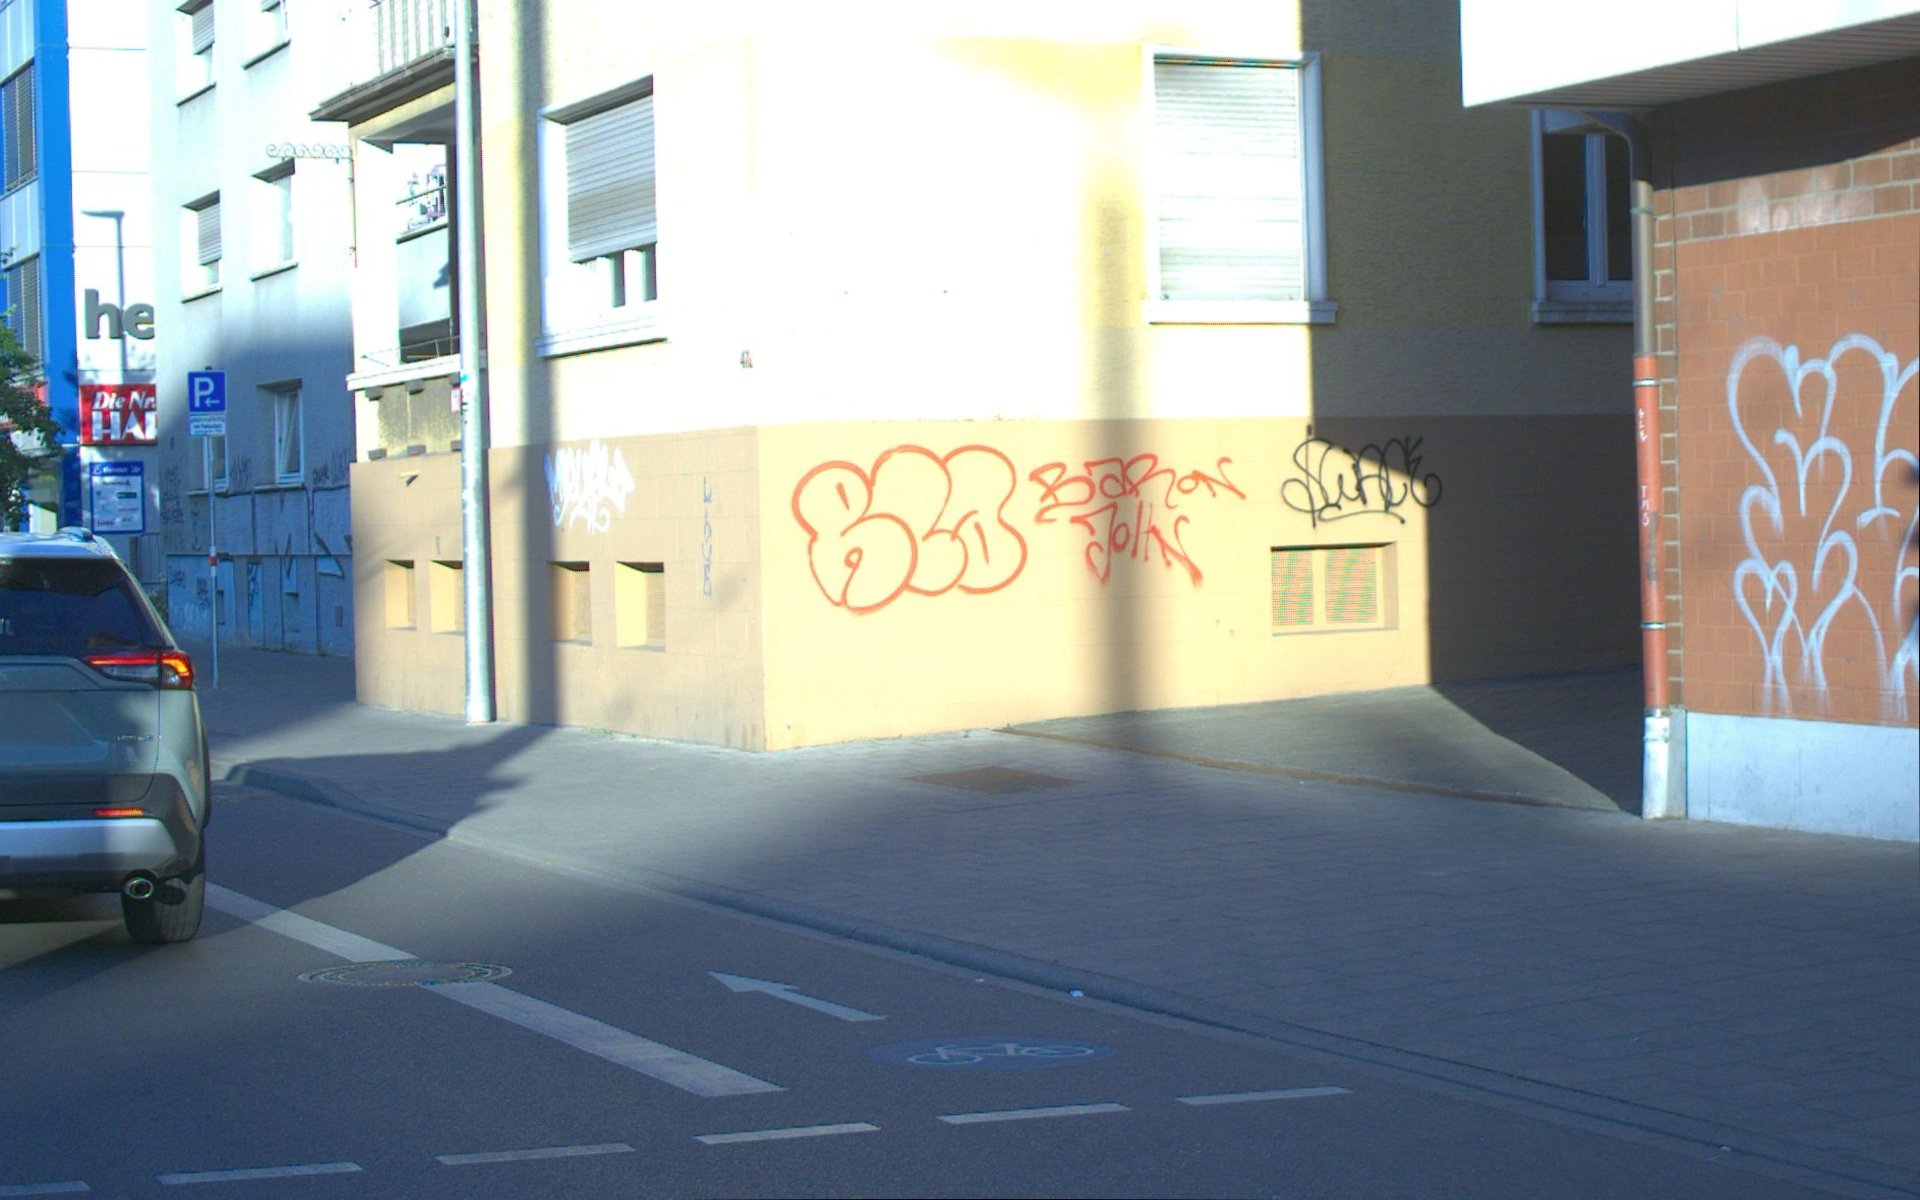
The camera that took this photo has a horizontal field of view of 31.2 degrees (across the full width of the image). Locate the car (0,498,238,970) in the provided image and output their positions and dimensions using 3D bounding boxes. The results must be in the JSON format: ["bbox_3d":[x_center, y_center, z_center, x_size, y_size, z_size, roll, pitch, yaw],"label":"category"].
[{"bbox_3d":[-4.360,0.477,14.346,1.857,1.708,4.193,0,0,-23],"label":"car"}]

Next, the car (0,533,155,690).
[{"bbox_3d":[-9.883,0.099,36.532,1.669,1.512,3.602,-4,2,-28],"label":"car"}]

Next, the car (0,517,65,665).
[{"bbox_3d":[-12.092,-0.088,41.205,1.757,1.648,4.529,-4,2,-25],"label":"car"}]
